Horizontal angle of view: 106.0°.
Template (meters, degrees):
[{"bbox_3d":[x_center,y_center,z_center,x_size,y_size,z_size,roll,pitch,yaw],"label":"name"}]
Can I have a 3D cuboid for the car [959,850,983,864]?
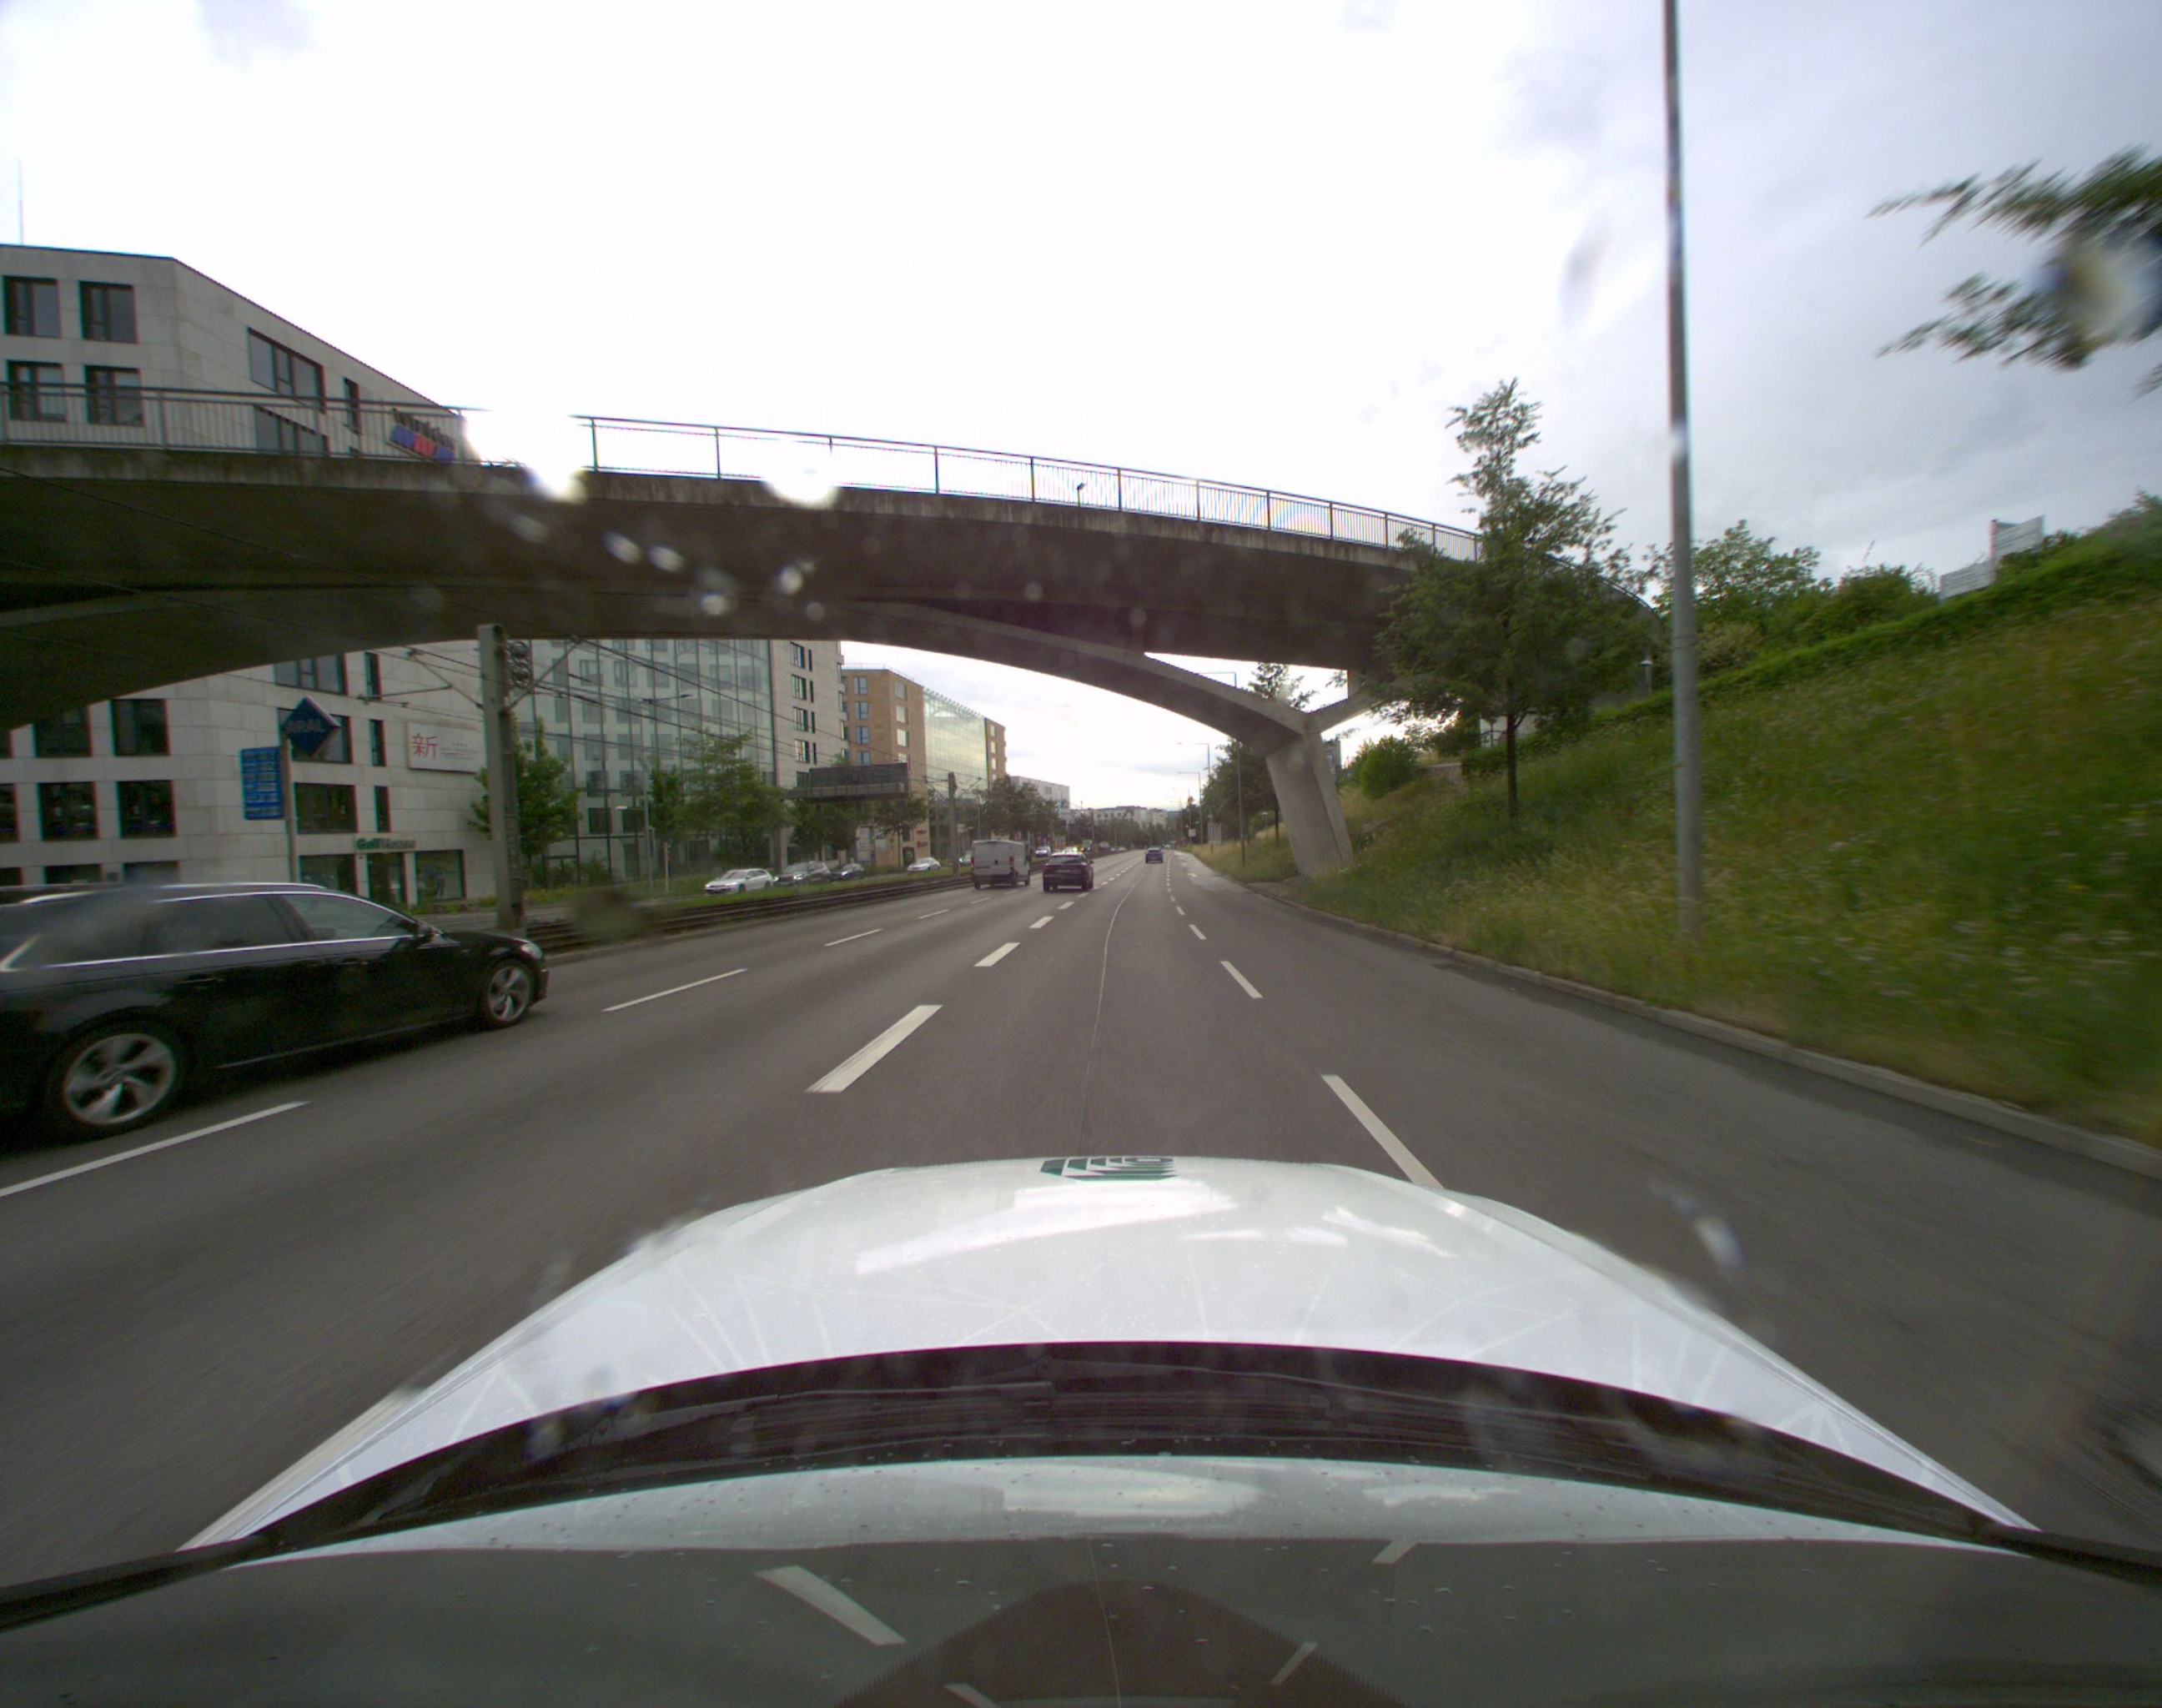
[{"bbox_3d":[-12.761,0.305,94.689,1.800,1.533,4.284,-1,1,7],"label":"car"}]

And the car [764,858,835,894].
[{"bbox_3d":[-15.229,1.156,44.289,1.909,1.776,4.234,-1,1,8],"label":"car"}]

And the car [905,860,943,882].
[{"bbox_3d":[-13.063,1.387,68.034,1.755,1.598,4.802,-1,1,7],"label":"car"}]

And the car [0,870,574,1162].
[{"bbox_3d":[-6.227,0.871,5.909,1.777,1.414,4.812,-1,0,5],"label":"car"}]

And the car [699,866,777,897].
[{"bbox_3d":[-18.883,1.468,45.044,1.911,1.497,4.665,-1,1,6],"label":"car"}]

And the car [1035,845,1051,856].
[{"bbox_3d":[-6.367,-0.548,136.850,1.927,1.761,5.072,-1,1,7],"label":"car"}]

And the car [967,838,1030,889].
[{"bbox_3d":[-3.911,0.389,39.502,2.258,2.284,4.765,-1,1,4],"label":"car"}]

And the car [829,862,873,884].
[{"bbox_3d":[-18.804,1.562,66.771,1.755,1.598,4.500,-1,1,7],"label":"car"}]

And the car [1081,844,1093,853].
[{"bbox_3d":[1.205,-1.143,169.822,1.927,1.761,4.820,-1,1,7],"label":"car"}]

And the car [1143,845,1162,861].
[{"bbox_3d":[7.272,-0.091,83.251,1.781,1.591,4.004,-2,0,4],"label":"car"}]

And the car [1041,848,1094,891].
[{"bbox_3d":[-0.510,0.636,34.935,1.914,1.711,4.102,-1,-1,4],"label":"car"}]

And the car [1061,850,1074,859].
[{"bbox_3d":[-2.692,0.053,166.425,1.927,1.761,4.820,-1,1,7],"label":"car"}]
